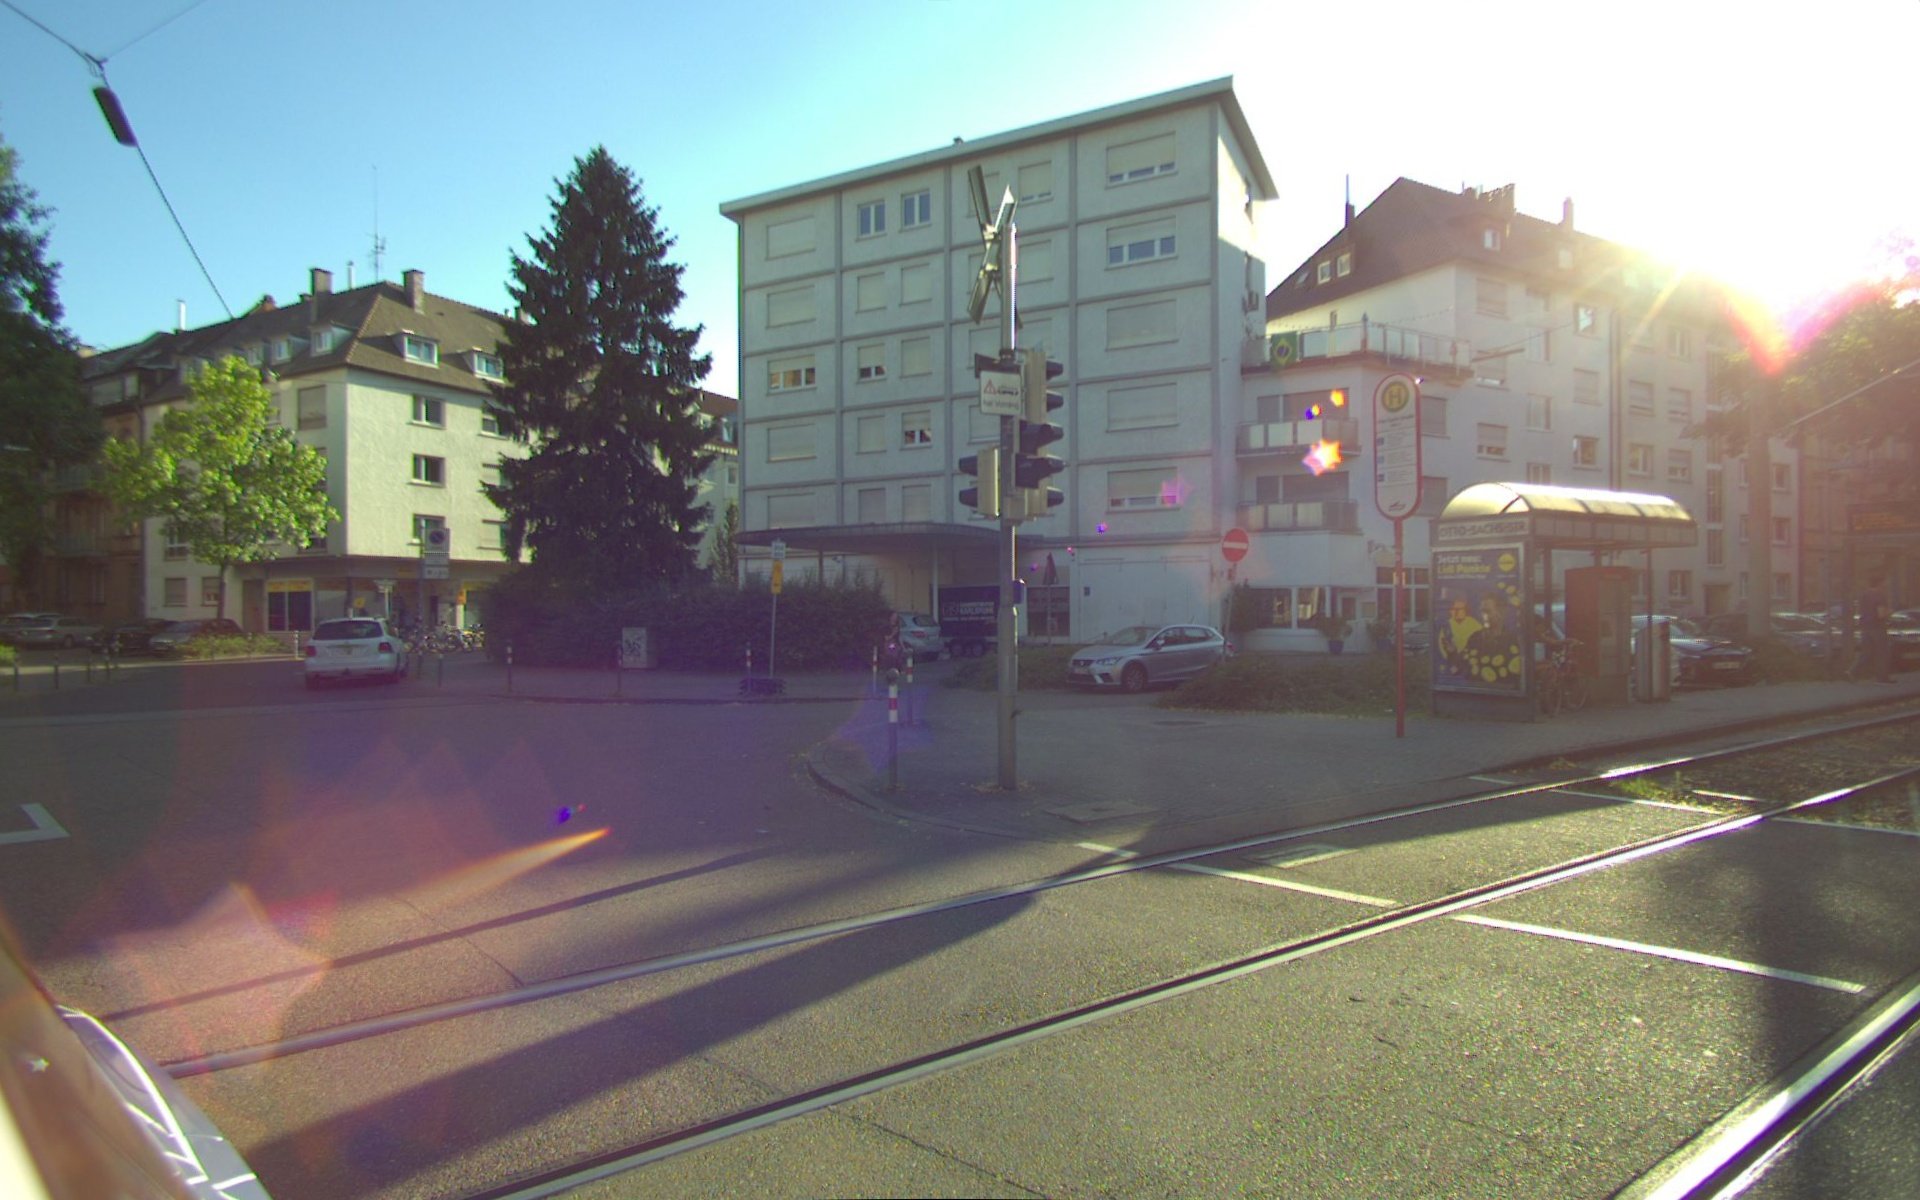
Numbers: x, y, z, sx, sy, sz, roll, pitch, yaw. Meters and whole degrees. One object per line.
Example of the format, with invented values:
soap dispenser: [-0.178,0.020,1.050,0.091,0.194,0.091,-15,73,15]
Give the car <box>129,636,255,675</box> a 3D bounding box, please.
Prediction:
car: [-31.818,2.278,42.060,1.853,1.410,3.986,-2,-1,11]

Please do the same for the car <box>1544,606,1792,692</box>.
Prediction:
car: [13.804,1.039,20.104,1.675,1.448,4.208,-3,-5,-3]

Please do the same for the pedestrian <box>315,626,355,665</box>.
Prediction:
pedestrian: [-28.030,2.025,45.413,0.959,1.679,1.203,-2,-1,28]

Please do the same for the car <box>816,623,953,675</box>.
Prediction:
car: [-2.431,1.563,32.402,3.986,1.544,1.979,-2,-1,32]

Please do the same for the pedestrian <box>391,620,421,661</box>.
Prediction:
pedestrian: [-25.829,1.868,47.188,0.848,1.889,0.883,-2,-1,28]

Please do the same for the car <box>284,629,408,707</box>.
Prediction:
car: [-13.541,1.426,22.540,1.890,1.461,4.309,-2,-1,-25]

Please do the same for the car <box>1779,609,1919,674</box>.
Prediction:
car: [23.364,1.058,25.559,1.583,1.470,4.244,-2,-5,-4]

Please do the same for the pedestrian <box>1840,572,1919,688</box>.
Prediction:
pedestrian: [15.831,0.507,17.307,0.823,1.925,0.854,-1,-2,-25]

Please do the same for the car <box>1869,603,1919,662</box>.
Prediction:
car: [28.446,0.849,28.637,1.836,1.664,4.230,-3,-5,8]

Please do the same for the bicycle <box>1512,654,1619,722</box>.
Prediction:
bicycle: [7.951,1.137,13.281,1.615,0.789,0.452,-1,-1,-30]

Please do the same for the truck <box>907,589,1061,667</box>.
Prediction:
truck: [0.811,0.994,35.116,4.949,2.554,1.981,-2,-1,28]

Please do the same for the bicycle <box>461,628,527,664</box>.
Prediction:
bicycle: [-20.378,1.991,44.223,3.367,1.456,0.872,0,0,31]

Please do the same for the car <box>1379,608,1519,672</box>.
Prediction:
car: [14.282,1.147,29.547,3.932,1.686,1.721,-1,-2,-30]

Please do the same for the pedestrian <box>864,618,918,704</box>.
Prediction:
pedestrian: [-1.464,1.270,21.485,0.856,1.749,0.833,0,0,-29]

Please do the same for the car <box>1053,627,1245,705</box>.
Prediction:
car: [4.134,1.376,21.971,3.932,1.457,1.721,-1,-2,-33]

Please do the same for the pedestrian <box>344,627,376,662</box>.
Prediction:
pedestrian: [-27.674,2.053,46.700,0.887,1.581,0.954,-2,-1,29]

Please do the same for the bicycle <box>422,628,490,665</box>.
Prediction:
bicycle: [-21.242,1.930,42.638,3.367,1.456,0.872,0,0,31]

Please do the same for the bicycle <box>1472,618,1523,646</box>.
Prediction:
bicycle: [20.374,1.208,38.349,2.138,1.011,0.535,-1,-1,-28]

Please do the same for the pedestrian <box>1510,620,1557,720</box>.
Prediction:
pedestrian: [7.718,0.926,13.616,0.444,1.311,0.339,0,-1,-31]

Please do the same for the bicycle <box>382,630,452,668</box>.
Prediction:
bicycle: [-21.737,1.920,40.470,3.367,1.456,0.872,-1,-1,31]

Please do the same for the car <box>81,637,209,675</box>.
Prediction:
car: [-34.206,2.343,42.617,1.853,1.410,3.986,-2,-1,11]

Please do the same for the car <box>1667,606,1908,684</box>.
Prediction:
car: [18.342,1.086,22.739,1.583,1.519,4.244,-2,-5,-4]

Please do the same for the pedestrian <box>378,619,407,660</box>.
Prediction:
pedestrian: [-26.626,1.863,47.488,0.848,1.889,0.883,-2,-1,28]

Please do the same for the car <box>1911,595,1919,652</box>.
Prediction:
car: [30.669,0.538,29.642,1.836,1.762,4.230,-3,-5,8]

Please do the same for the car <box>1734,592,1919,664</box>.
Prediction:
car: [21.202,0.714,24.319,1.583,1.470,4.244,-2,-5,-4]

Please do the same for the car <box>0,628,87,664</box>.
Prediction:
car: [-44.866,2.208,49.010,1.846,1.648,4.001,-1,-1,-1]

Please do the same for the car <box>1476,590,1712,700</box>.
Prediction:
car: [11.188,0.883,18.274,1.586,1.665,4.237,-3,-5,2]

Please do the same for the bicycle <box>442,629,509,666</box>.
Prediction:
bicycle: [-20.836,2.005,43.498,3.367,1.456,0.872,0,0,31]

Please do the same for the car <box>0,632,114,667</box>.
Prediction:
car: [-42.146,2.285,47.336,1.846,1.517,4.001,-1,-1,-1]

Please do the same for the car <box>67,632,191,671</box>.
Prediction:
car: [-36.692,2.236,44.826,1.855,1.580,3.983,-2,-1,13]

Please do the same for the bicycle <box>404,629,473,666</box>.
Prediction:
bicycle: [-21.410,1.929,41.525,3.367,1.456,0.872,-1,-1,31]
